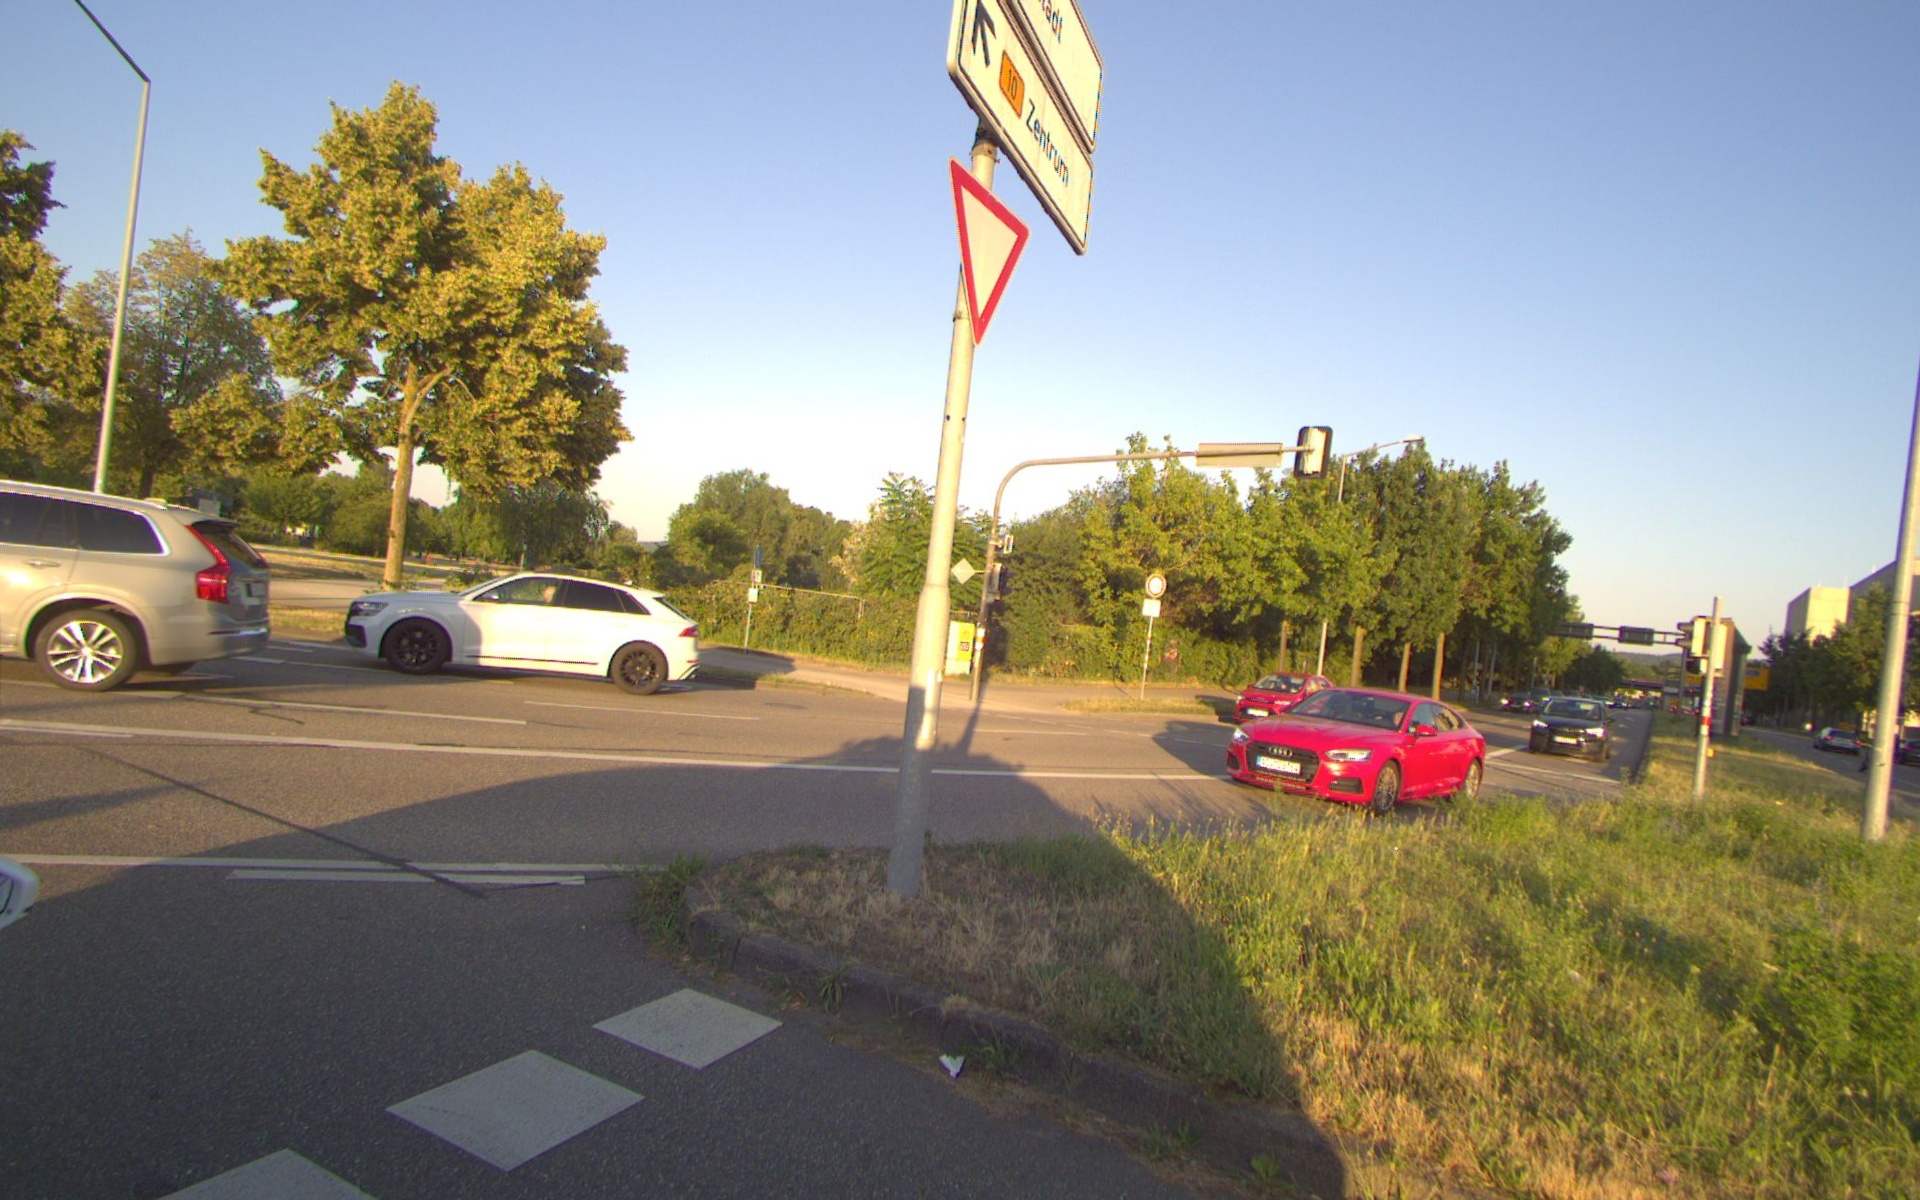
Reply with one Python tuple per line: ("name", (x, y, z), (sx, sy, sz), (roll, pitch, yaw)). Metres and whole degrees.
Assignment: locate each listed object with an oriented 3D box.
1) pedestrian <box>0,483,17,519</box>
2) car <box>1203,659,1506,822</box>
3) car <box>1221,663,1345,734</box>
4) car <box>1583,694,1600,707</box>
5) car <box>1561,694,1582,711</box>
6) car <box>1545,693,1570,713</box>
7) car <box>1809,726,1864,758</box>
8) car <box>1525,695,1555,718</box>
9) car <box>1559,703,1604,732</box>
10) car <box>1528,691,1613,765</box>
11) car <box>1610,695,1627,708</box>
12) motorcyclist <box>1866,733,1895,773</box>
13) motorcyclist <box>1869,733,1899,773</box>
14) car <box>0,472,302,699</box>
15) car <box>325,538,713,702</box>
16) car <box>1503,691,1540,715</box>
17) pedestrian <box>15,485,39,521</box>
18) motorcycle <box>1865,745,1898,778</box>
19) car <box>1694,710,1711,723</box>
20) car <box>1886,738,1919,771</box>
("pedestrian", (-46.438, -4.801, 48.901), (0.525, 1.646, 0.578), (7, 0, -20))
("car", (5.136, 1.750, 12.718), (1.821, 1.477, 4.557), (7, -1, 44))
("car", (8.281, 2.542, 25.644), (1.702, 1.500, 3.619), (5, -2, 39))
("car", (85.438, 13.591, 136.085), (1.594, 1.471, 3.706), (5, -2, 35))
("car", (63.908, 10.760, 105.101), (1.594, 1.536, 3.706), (5, -2, 35))
("car", (54.027, 9.296, 90.911), (1.594, 1.536, 3.706), (5, -2, 35))
("car", (52.584, 8.501, 60.430), (1.774, 1.440, 4.437), (7, 0, 34))
("car", (44.412, 8.160, 76.981), (1.594, 1.536, 3.706), (5, -2, 35))
("car", (35.419, 6.689, 57.297), (1.847, 1.324, 4.128), (5, -2, 35))
("car", (16.602, 3.432, 27.274), (1.695, 1.631, 4.128), (6, -2, 34))
("car", (82.837, 12.792, 126.588), (1.594, 1.471, 3.706), (5, -2, 35))
("motorcyclist", (35.973, 5.953, 39.326), (0.626, 1.433, 0.713), (7, 0, 35))
("motorcyclist", (35.604, 5.896, 38.777), (0.626, 1.425, 0.592), (7, 0, 35))
("car", (-9.108, -0.283, 9.107), (4.857, 1.775, 1.913), (7, -2, -23))
("car", (-6.433, 0.334, 15.123), (4.880, 1.730, 1.902), (8, -1, -25))
("car", (36.233, 6.635, 64.907), (1.594, 1.324, 3.707), (5, -2, 35))
("pedestrian", (-45.946, -4.764, 49.523), (0.523, 1.646, 0.618), (7, 0, -19))
("motorcycle", (35.806, 6.257, 39.121), (0.549, 1.114, 2.154), (7, -1, 35))
("car", (116.112, 18.205, 157.267), (1.789, 1.543, 4.124), (7, 0, 34))
("car", (53.025, 8.632, 55.739), (1.774, 1.482, 3.989), (7, 0, 34))
